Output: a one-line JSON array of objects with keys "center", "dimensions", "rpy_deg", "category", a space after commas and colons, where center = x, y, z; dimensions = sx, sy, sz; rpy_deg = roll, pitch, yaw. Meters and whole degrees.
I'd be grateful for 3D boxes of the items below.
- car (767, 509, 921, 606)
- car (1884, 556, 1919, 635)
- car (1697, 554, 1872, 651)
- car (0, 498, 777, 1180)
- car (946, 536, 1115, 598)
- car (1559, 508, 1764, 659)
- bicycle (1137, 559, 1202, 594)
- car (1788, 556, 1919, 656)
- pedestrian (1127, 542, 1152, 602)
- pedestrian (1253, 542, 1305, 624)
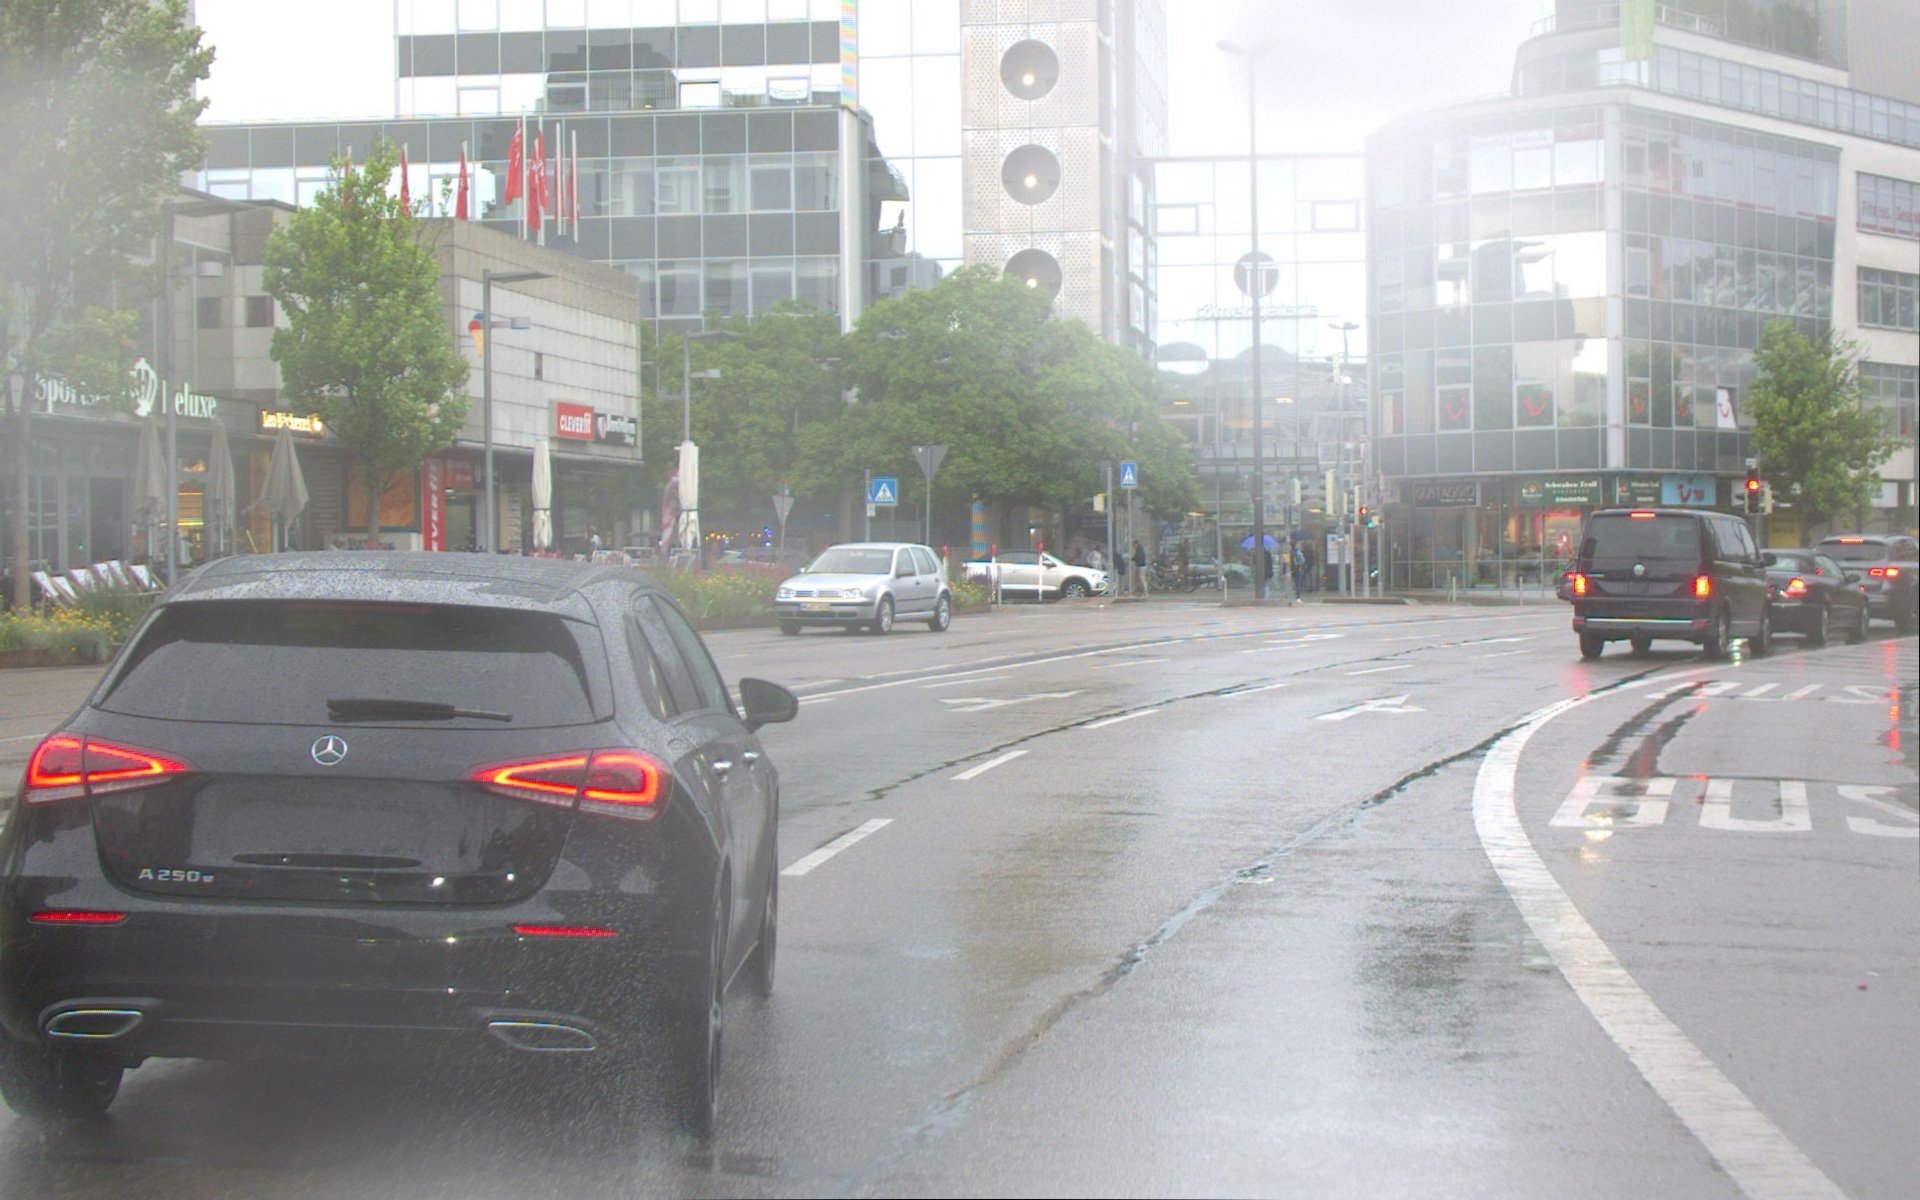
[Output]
[{"center": [-1.785, -0.653, 54.134], "dimensions": [1.700, 1.461, 4.102], "rpy_deg": [0, 0, 8], "category": "car"}, {"center": [18.853, -0.070, 64.785], "dimensions": [1.637, 1.443, 4.261], "rpy_deg": [1, 1, 31], "category": "car"}, {"center": [12.638, 0.030, 52.519], "dimensions": [1.634, 1.381, 4.508], "rpy_deg": [1, 1, 26], "category": "car"}, {"center": [-1.498, 0.509, 9.667], "dimensions": [1.815, 1.524, 3.813], "rpy_deg": [1, 1, -1], "category": "car"}, {"center": [1.909, -0.894, 92.286], "dimensions": [4.195, 1.590, 1.869], "rpy_deg": [1, 1, 15], "category": "car"}, {"center": [9.461, -0.210, 46.123], "dimensions": [1.998, 1.887, 4.582], "rpy_deg": [1, 0, 20], "category": "car"}, {"center": [7.509, -0.843, 122.968], "dimensions": [2.274, 1.242, 0.676], "rpy_deg": [0, 0, 7], "category": "bicycle"}, {"center": [15.672, 0.091, 58.595], "dimensions": [1.904, 1.615, 4.328], "rpy_deg": [1, 1, 29], "category": "car"}, {"center": [6.085, -0.948, 116.683], "dimensions": [0.762, 2.007, 0.714], "rpy_deg": [1, 0, 0], "category": "pedestrian"}, {"center": [7.924, -0.425, 85.505], "dimensions": [1.162, 2.007, 1.328], "rpy_deg": [1, 0, 2], "category": "pedestrian"}]
